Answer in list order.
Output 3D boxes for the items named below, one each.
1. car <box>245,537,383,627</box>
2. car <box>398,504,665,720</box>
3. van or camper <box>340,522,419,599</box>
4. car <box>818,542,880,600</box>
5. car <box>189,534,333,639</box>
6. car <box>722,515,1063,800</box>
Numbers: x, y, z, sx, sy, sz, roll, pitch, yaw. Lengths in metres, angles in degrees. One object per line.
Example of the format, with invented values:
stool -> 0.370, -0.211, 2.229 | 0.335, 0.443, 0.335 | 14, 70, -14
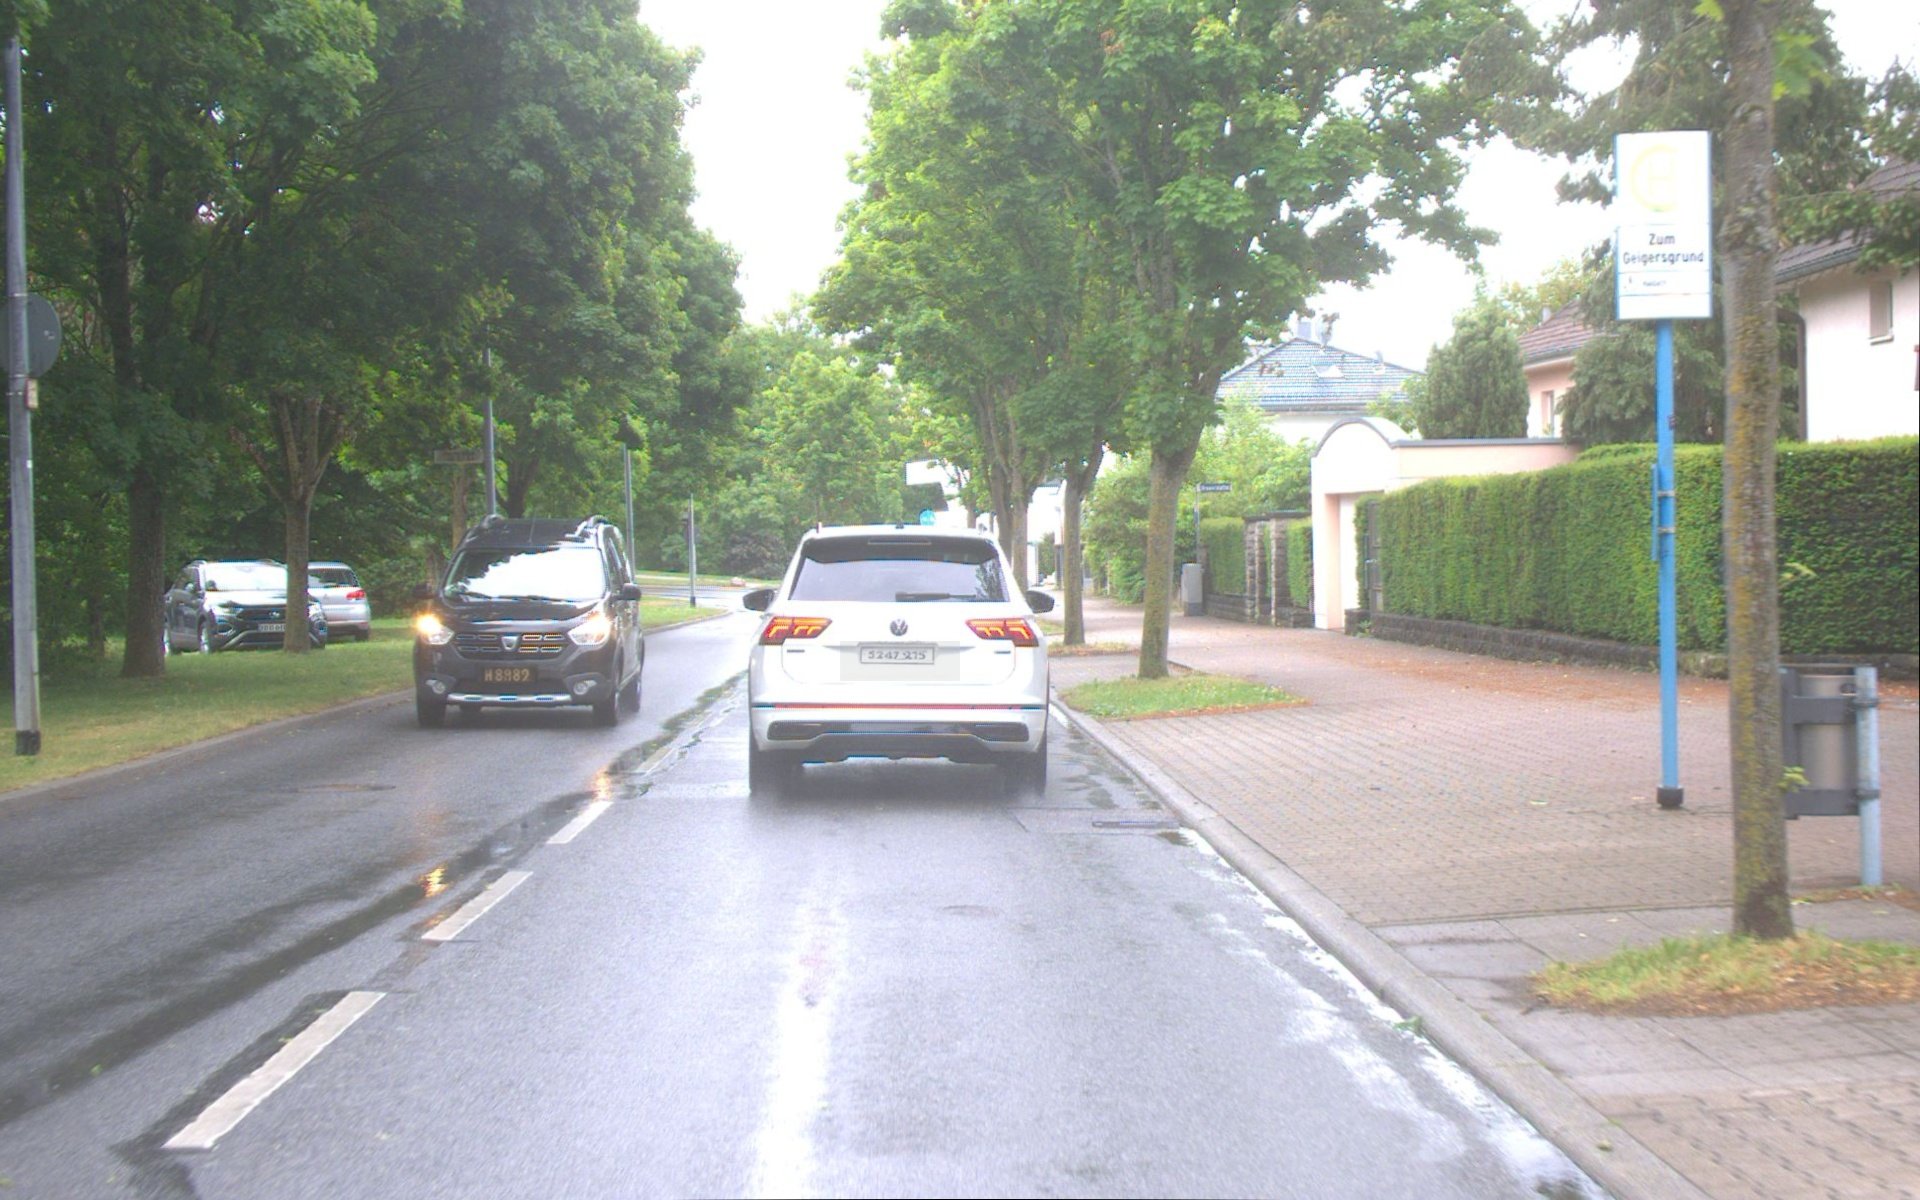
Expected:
car -> -11.995, -0.362, 63.636 | 1.880, 1.425, 4.218 | -2, 4, -19
car -> -3.732, 0.058, 30.606 | 1.776, 1.767, 4.286 | -1, 1, 1
van or camper -> -18.997, -1.293, 112.652 | 2.384, 2.352, 6.813 | -2, 1, -9
car -> -4.007, -1.050, 123.354 | 1.901, 2.007, 3.945 | 1, 1, -6
car -> -10.657, -0.226, 52.235 | 1.888, 1.508, 4.251 | -1, 1, -15
car -> -0.412, 0.296, 22.015 | 1.974, 1.647, 4.177 | 0, 1, -1
